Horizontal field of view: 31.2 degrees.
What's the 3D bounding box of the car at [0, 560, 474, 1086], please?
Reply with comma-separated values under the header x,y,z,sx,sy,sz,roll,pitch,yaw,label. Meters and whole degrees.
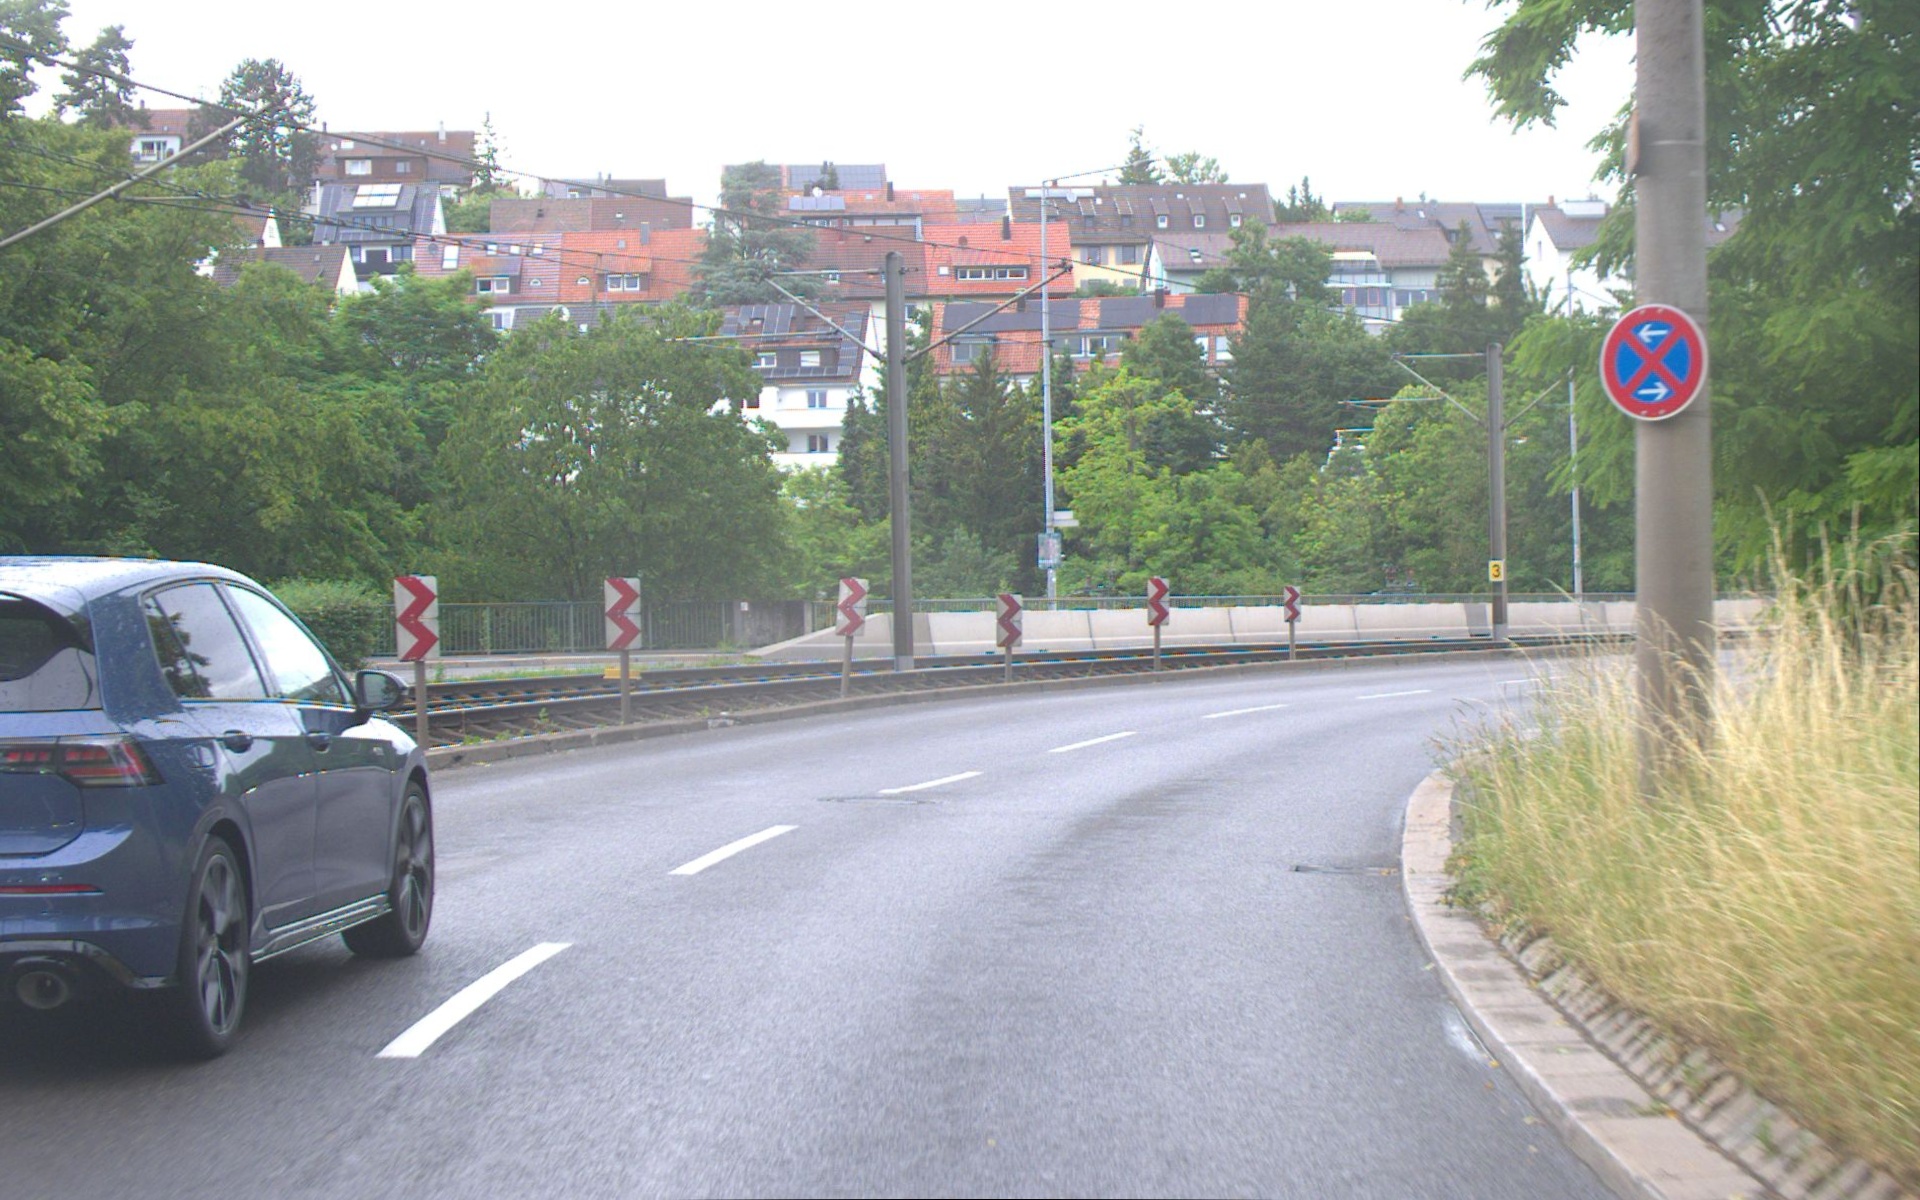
x,y,z,sx,sy,sz,roll,pitch,yaw,label
-2.908,0.562,11.234,1.808,1.374,4.346,1,0,3,car
